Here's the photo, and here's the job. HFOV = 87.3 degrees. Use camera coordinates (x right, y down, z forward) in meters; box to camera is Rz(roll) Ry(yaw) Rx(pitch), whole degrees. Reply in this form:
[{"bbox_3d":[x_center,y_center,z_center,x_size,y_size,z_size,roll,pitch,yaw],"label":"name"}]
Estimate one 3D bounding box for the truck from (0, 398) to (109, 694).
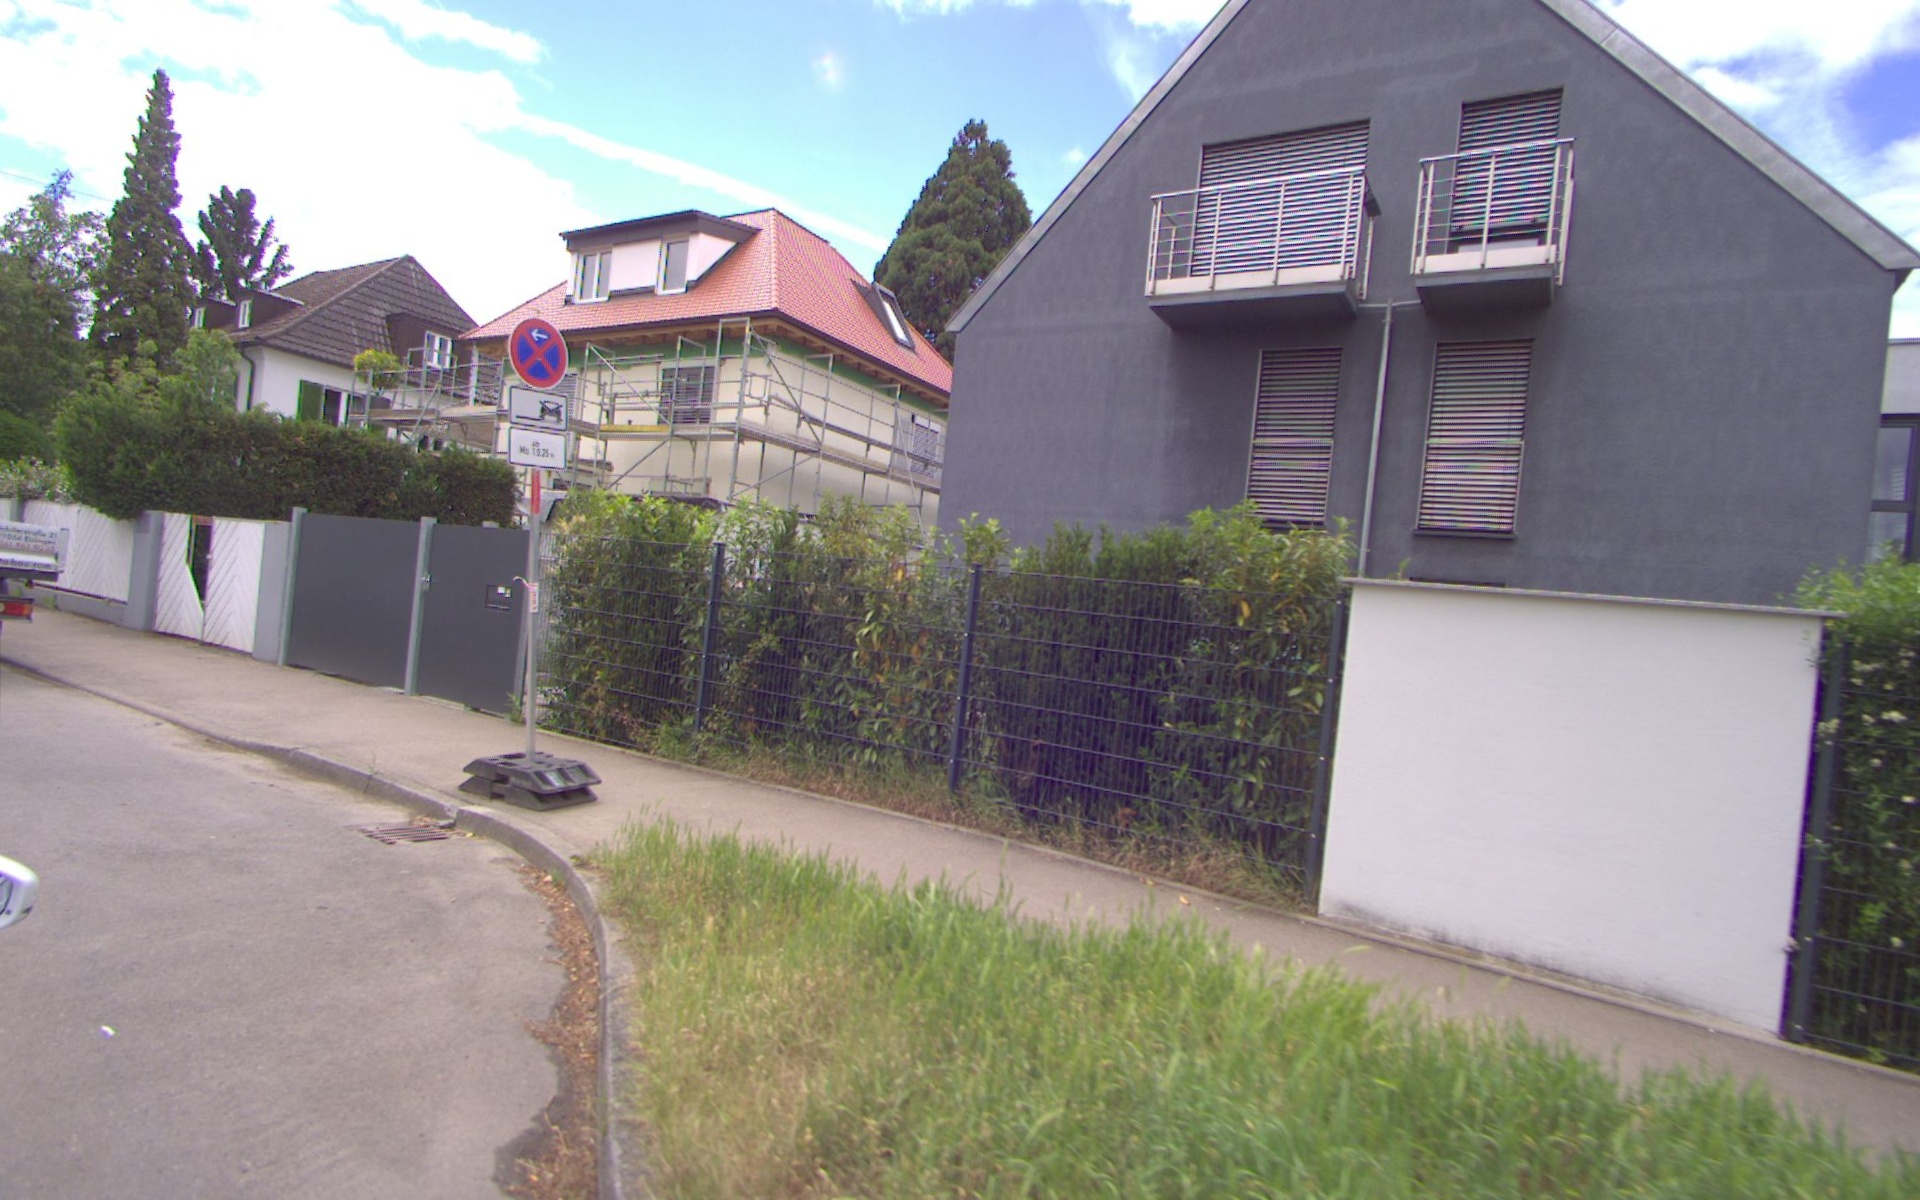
[{"bbox_3d":[-11.525,-0.790,10.131,7.308,2.500,2.191,5,-2,32],"label":"truck"}]
